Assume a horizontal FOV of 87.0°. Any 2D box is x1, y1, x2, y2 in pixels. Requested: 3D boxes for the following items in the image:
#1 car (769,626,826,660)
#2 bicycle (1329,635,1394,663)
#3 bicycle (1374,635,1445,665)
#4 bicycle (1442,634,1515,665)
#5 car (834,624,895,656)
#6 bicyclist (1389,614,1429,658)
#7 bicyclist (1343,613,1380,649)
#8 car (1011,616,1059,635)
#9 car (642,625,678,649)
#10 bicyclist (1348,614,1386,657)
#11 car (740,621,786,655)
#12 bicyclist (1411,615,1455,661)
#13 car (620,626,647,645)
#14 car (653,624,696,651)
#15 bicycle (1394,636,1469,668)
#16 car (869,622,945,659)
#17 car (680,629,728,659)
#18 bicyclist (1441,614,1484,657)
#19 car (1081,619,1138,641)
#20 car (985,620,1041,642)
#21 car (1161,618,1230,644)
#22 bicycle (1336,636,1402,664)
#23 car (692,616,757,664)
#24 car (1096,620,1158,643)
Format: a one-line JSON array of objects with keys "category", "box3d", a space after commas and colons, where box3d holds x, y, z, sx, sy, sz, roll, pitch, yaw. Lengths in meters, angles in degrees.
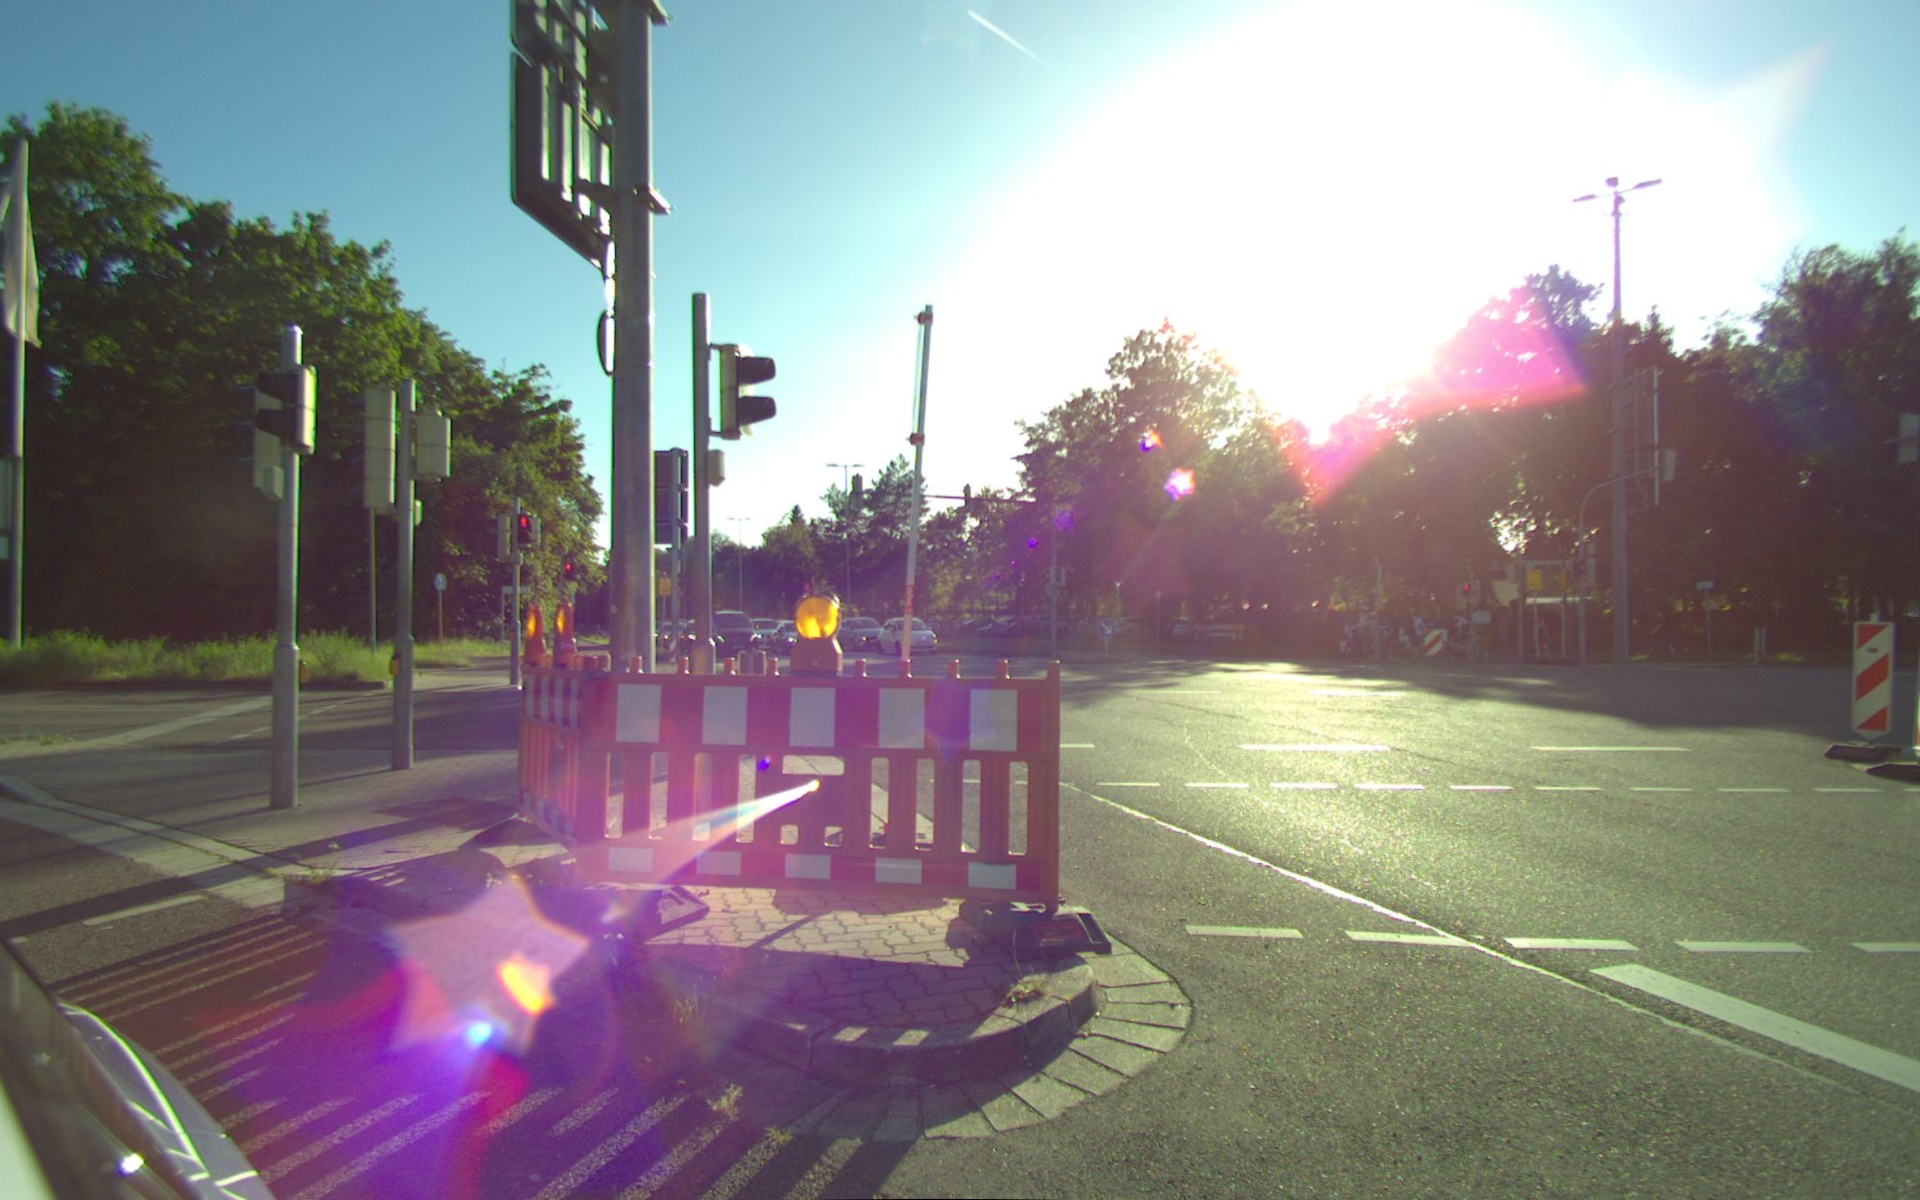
[{"category": "car", "box3d": [-7.076, 1.818, 43.761, 1.619, 1.400, 3.812, 0, -1, -22]}, {"category": "bicycle", "box3d": [13.550, 1.651, 34.164, 1.888, 0.921, 0.715, -1, -1, 7]}, {"category": "bicycle", "box3d": [14.175, 1.572, 31.948, 1.888, 0.921, 0.715, 0, -1, 7]}, {"category": "bicycle", "box3d": [16.230, 1.551, 31.735, 1.888, 0.921, 0.715, 0, -1, 7]}, {"category": "car", "box3d": [-4.478, 1.827, 46.902, 1.822, 1.400, 3.812, 0, -1, -22]}, {"category": "bicyclist", "box3d": [14.168, 1.135, 31.957, 0.978, 1.366, 0.715, 0, -1, 7]}, {"category": "bicyclist", "box3d": [13.547, 1.054, 34.179, 0.978, 1.201, 0.715, 0, -1, 7]}, {"category": "car", "box3d": [6.729, 2.275, 90.935, 3.907, 1.612, 1.817, 0, -1, -9]}, {"category": "car", "box3d": [-18.892, 2.311, 63.659, 1.822, 1.400, 3.812, 0, -1, -22]}, {"category": "bicyclist", "box3d": [13.386, 1.156, 33.279, 0.978, 1.400, 0.711, 0, -1, 7]}, {"category": "car", "box3d": [-9.891, 1.862, 50.665, 1.618, 1.638, 4.013, 0, -1, -21]}, {"category": "bicyclist", "box3d": [14.049, 1.134, 30.071, 0.978, 1.349, 0.715, 0, -1, 7]}, {"category": "car", "box3d": [-25.915, 2.786, 80.297, 1.822, 1.400, 3.812, 0, -1, -22]}, {"category": "car", "box3d": [-15.743, 2.030, 55.700, 1.822, 1.400, 3.812, 0, -1, -22]}, {"category": "bicycle", "box3d": [13.994, 1.531, 30.071, 1.888, 0.921, 0.715, 0, -1, 7]}, {"category": "car", "box3d": [-2.193, 1.598, 40.647, 1.895, 1.400, 3.812, 0, -1, -22]}, {"category": "car", "box3d": [-12.716, 2.133, 50.137, 1.822, 1.400, 3.812, 0, -1, -22]}, {"category": "bicyclist", "box3d": [15.778, 1.111, 31.802, 0.978, 1.352, 0.715, 0, -1, 7]}, {"category": "car", "box3d": [11.528, 2.309, 78.165, 3.907, 1.612, 1.817, 0, -1, -9]}, {"category": "car", "box3d": [4.051, 2.371, 77.566, 3.933, 1.631, 1.948, 0, -1, -13]}, {"category": "car", "box3d": [15.782, 2.063, 67.927, 4.124, 1.612, 1.819, 0, -1, -19]}, {"category": "bicycle", "box3d": [13.422, 1.641, 33.259, 1.888, 0.921, 0.715, 0, -1, 7]}, {"category": "car", "box3d": [-9.868, 1.616, 42.159, 1.895, 1.844, 4.950, 0, -1, -22]}, {"category": "car", "box3d": [12.355, 2.307, 75.002, 4.084, 1.612, 1.817, 0, -1, -9]}]
